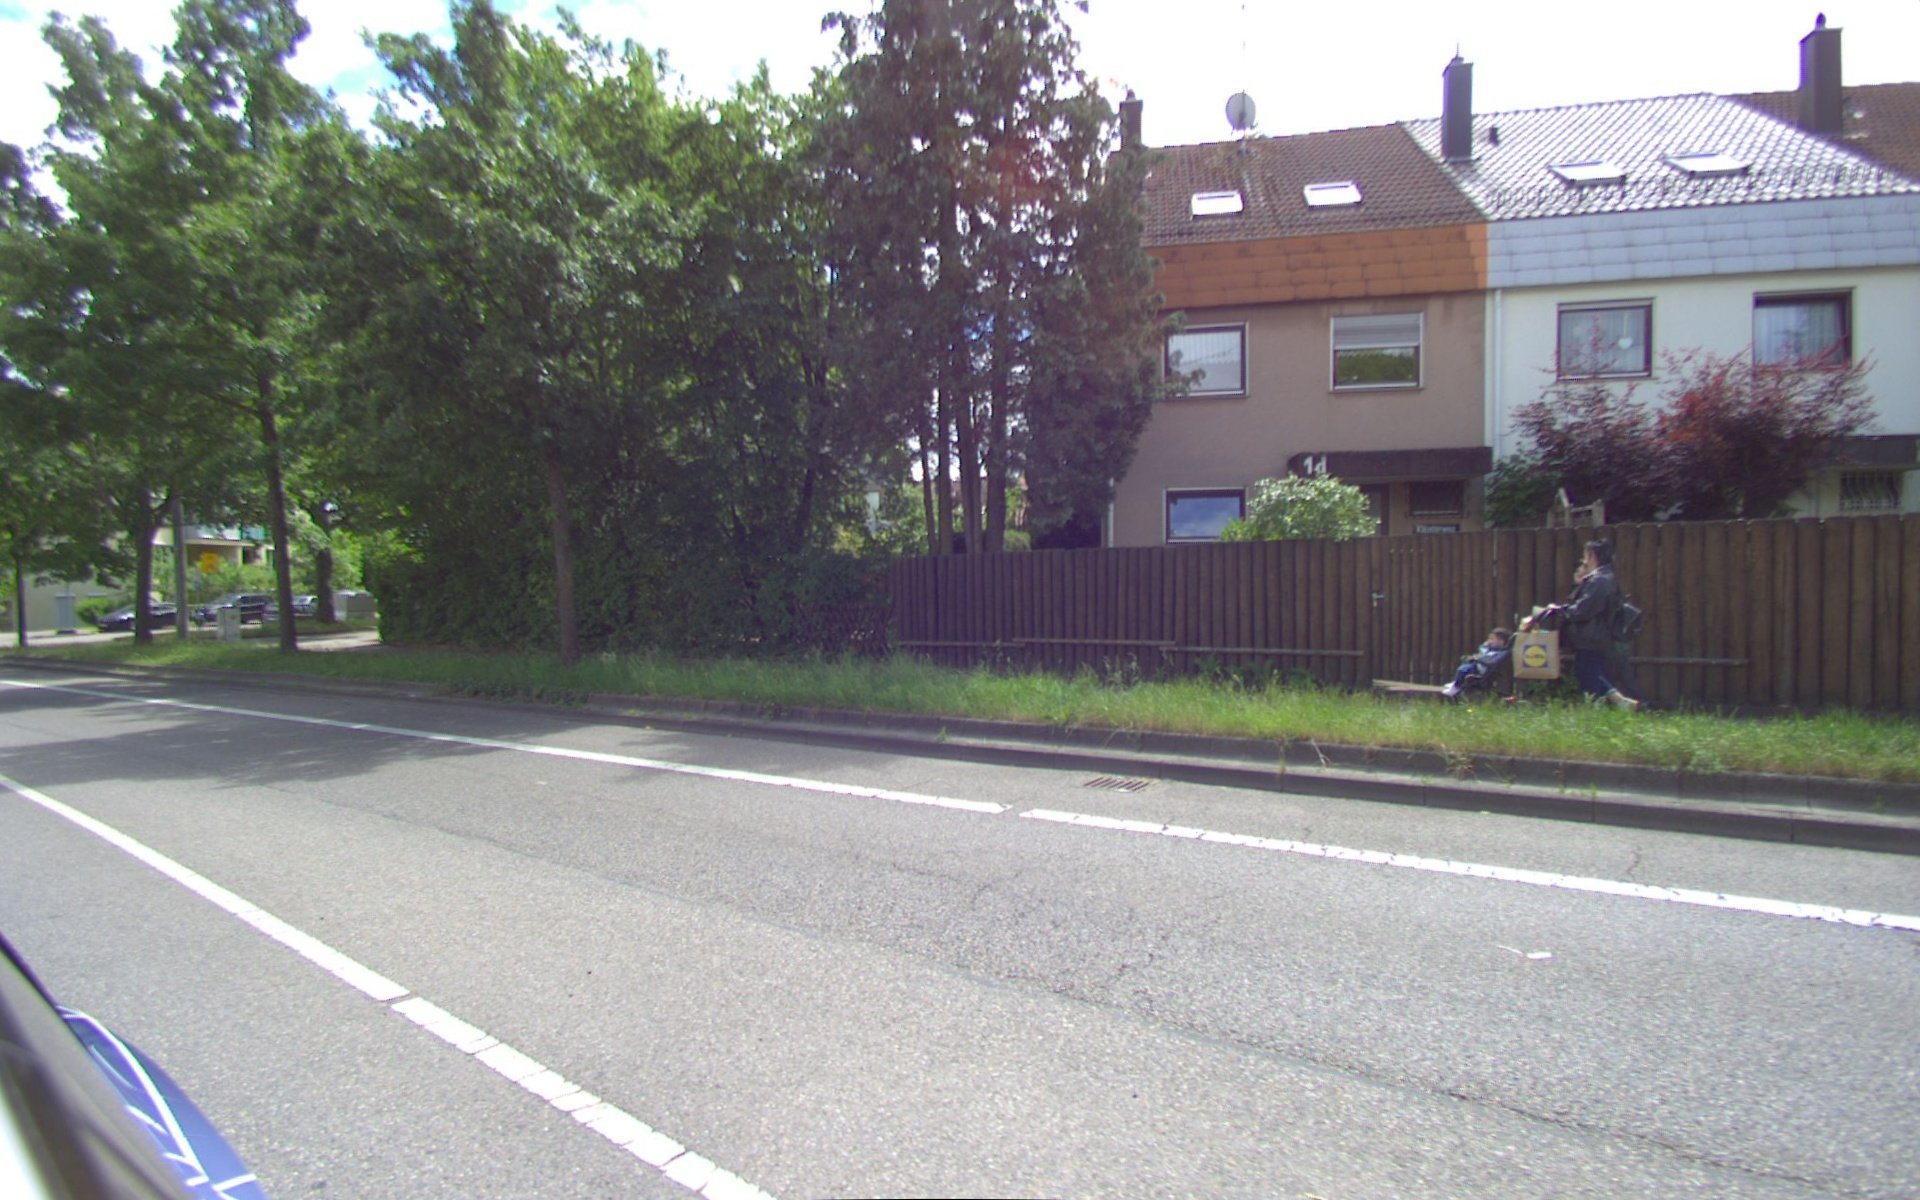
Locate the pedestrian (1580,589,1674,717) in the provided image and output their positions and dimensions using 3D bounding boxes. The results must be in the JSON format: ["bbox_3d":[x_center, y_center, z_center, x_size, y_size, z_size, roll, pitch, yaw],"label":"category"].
[{"bbox_3d":[6.020,0.459,9.126,0.641,1.094,0.549,-1,1,39],"label":"pedestrian"}]

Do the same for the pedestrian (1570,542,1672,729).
[{"bbox_3d":[5.536,0.278,8.481,0.641,1.492,0.549,-1,1,39],"label":"pedestrian"}]

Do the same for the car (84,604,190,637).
[{"bbox_3d":[-43.276,1.056,53.309,1.979,1.519,3.986,-1,1,11],"label":"car"}]

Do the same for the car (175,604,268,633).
[{"bbox_3d":[-42.418,1.045,58.246,1.980,1.519,3.983,-1,1,13],"label":"car"}]

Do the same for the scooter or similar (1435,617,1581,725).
[{"bbox_3d":[4.868,0.603,8.993,1.029,0.871,0.630,-1,1,40],"label":"scooter or similar"}]
